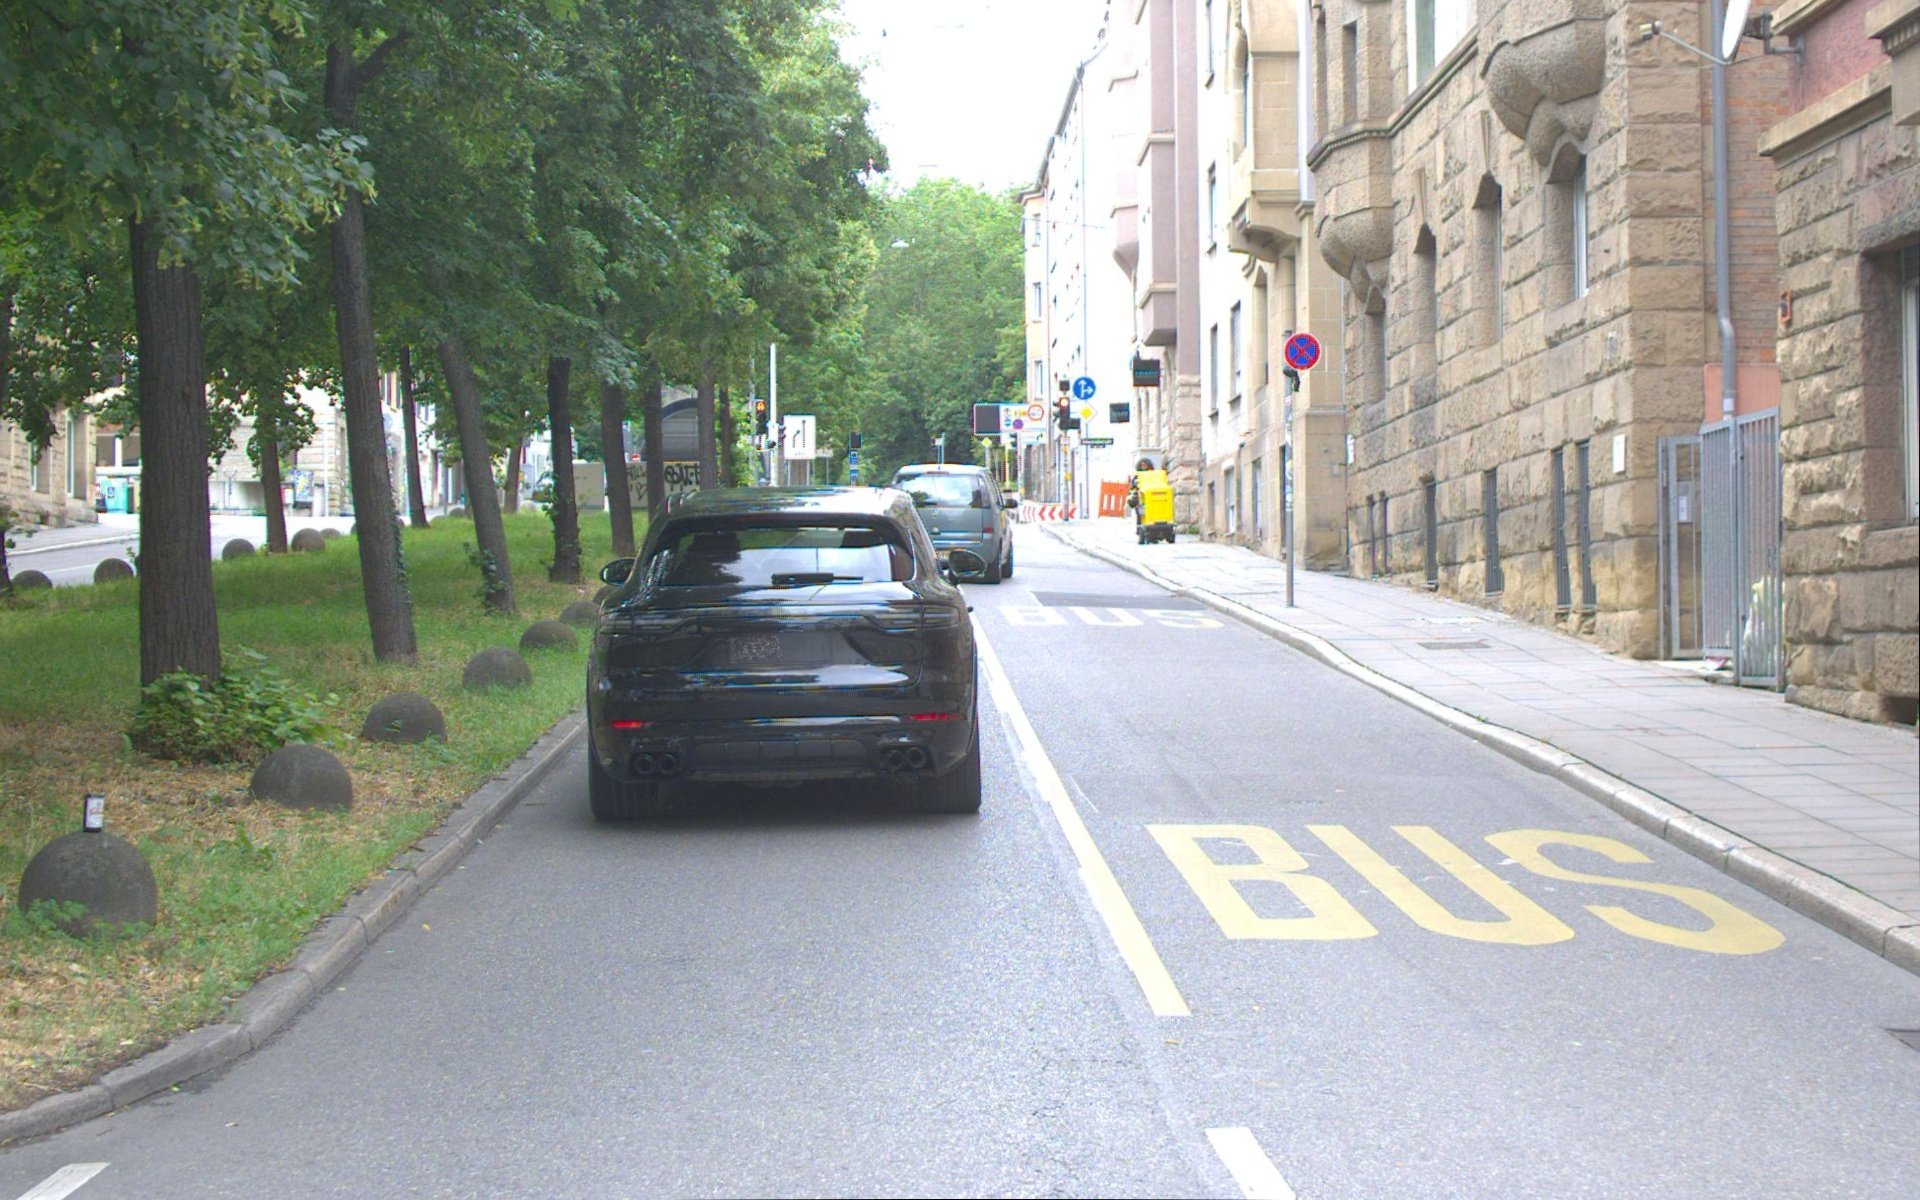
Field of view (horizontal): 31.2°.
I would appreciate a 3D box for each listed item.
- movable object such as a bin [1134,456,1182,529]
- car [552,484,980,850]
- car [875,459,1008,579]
[{"bbox_3d":[3.925,-2.125,68.282,0.719,1.416,1.693,-2,1,-3],"label":"movable object such as a bin"},{"bbox_3d":[-0.936,0.254,18.432,1.994,1.647,4.001,-2,3,0],"label":"car"},{"bbox_3d":[-0.268,-1.141,47.358,1.752,1.587,3.631,0,2,-1],"label":"car"}]
